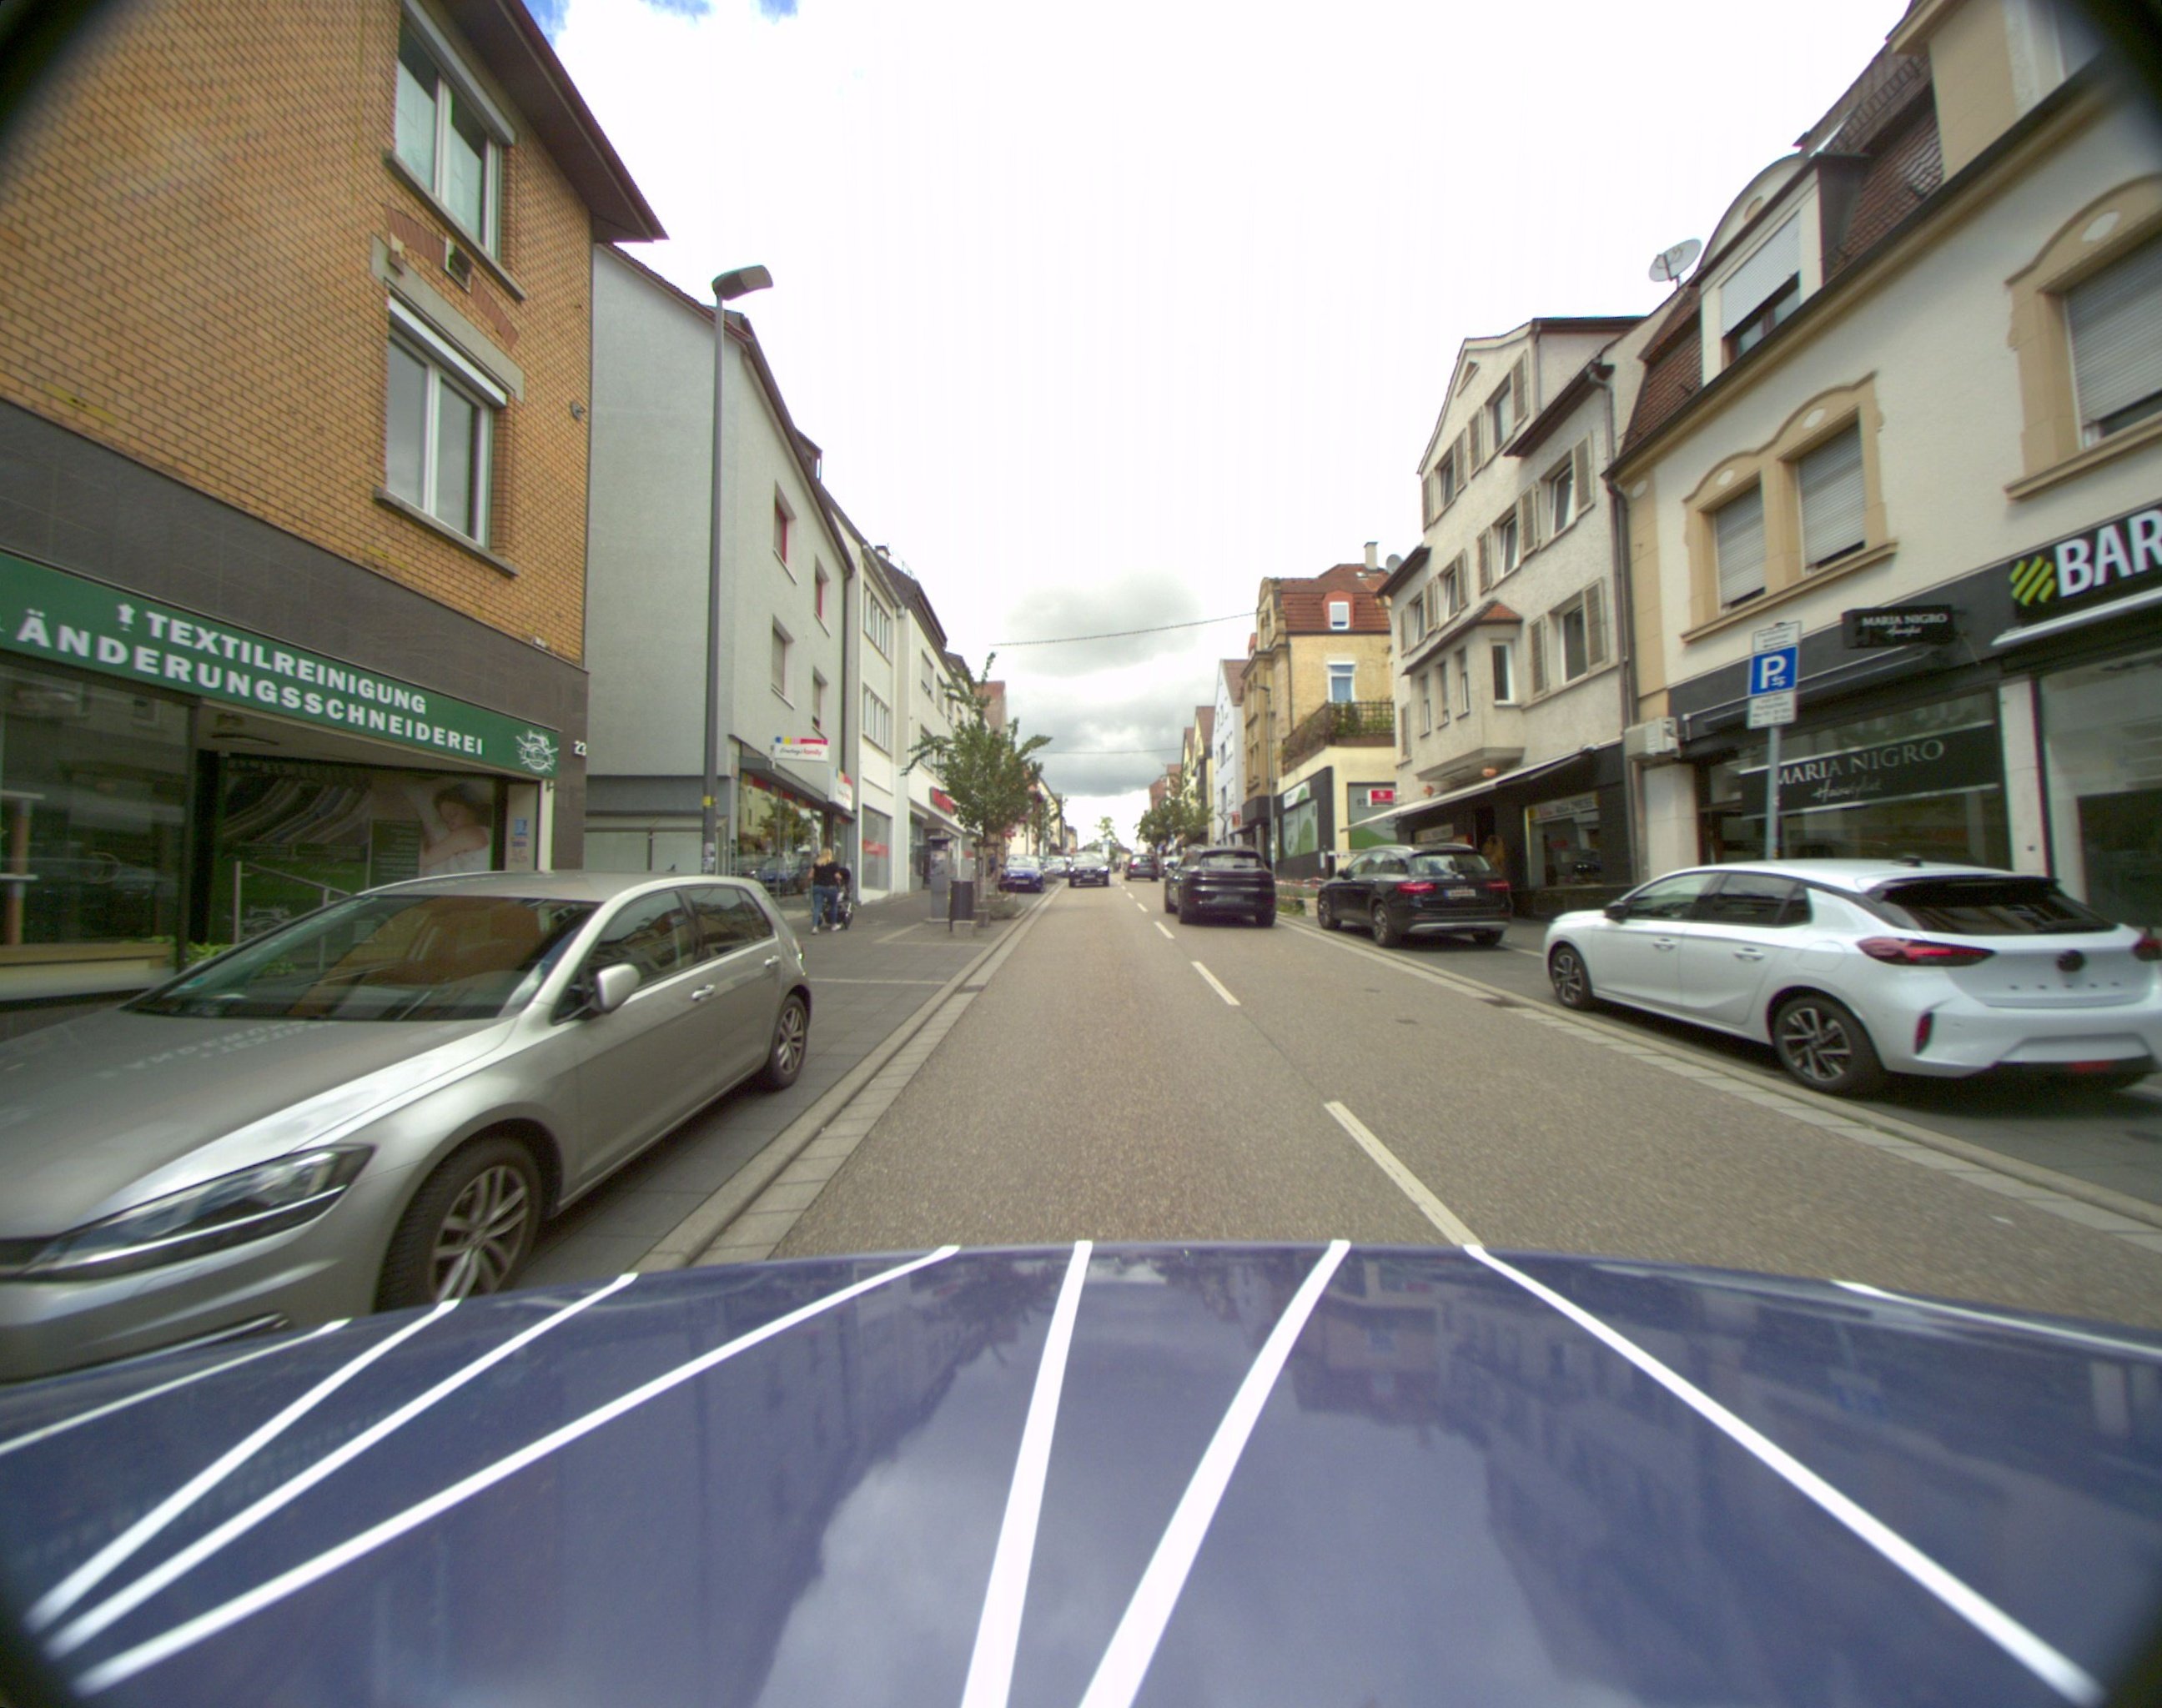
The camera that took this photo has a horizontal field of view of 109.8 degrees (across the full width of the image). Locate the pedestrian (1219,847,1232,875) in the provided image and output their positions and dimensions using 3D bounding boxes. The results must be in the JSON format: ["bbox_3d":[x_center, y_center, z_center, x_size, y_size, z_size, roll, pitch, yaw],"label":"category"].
[{"bbox_3d":[8.970,0.429,47.100,0.588,1.703,0.710,-3,0,1],"label":"pedestrian"}]

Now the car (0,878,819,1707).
[{"bbox_3d":[-2.791,0.932,3.357,1.752,1.457,4.074,2,0,1],"label":"car"}]

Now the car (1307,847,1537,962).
[{"bbox_3d":[5.672,0.724,13.420,1.931,1.612,4.639,-2,0,0],"label":"car"}]

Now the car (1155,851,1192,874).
[{"bbox_3d":[6.422,0.608,53.164,1.931,1.483,4.843,-3,-1,0],"label":"car"}]

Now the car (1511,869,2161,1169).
[{"bbox_3d":[5.531,0.894,6.017,1.931,1.422,4.262,-2,0,2],"label":"car"}]

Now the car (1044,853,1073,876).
[{"bbox_3d":[-1.564,0.737,54.190,1.752,1.598,3.801,1,-1,2],"label":"car"}]

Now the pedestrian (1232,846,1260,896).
[{"bbox_3d":[5.608,0.557,25.898,0.739,1.662,0.863,-1,0,-2],"label":"pedestrian"}]

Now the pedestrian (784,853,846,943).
[{"bbox_3d":[-4.870,0.774,13.946,0.737,1.576,1.000,2,0,0],"label":"pedestrian"}]

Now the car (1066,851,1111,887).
[{"bbox_3d":[0.315,0.664,35.347,1.914,1.560,4.372,-1,0,0],"label":"car"}]

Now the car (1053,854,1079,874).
[{"bbox_3d":[-1.358,0.939,70.862,1.881,1.789,4.734,-1,-1,4],"label":"car"}]

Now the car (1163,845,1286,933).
[{"bbox_3d":[3.081,0.687,17.252,1.997,1.708,4.447,1,0,1],"label":"car"}]

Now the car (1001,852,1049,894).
[{"bbox_3d":[-2.249,0.710,30.646,1.753,1.489,3.798,2,1,-4],"label":"car"}]

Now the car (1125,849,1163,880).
[{"bbox_3d":[3.565,0.565,43.365,1.823,1.608,4.135,1,0,0],"label":"car"}]

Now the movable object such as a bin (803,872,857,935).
[{"bbox_3d":[-4.884,0.939,14.826,0.723,1.151,0.907,1,0,0],"label":"movable object such as a bin"}]

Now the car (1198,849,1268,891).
[{"bbox_3d":[6.125,0.625,31.028,1.931,1.502,4.262,-3,-1,0],"label":"car"}]

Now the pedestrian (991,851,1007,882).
[{"bbox_3d":[-4.128,0.642,38.384,0.758,1.551,0.817,0,0,-2],"label":"pedestrian"}]

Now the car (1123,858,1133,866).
[{"bbox_3d":[9.431,1.589,152.659,1.968,1.611,4.356,-2,0,3],"label":"car"}]
